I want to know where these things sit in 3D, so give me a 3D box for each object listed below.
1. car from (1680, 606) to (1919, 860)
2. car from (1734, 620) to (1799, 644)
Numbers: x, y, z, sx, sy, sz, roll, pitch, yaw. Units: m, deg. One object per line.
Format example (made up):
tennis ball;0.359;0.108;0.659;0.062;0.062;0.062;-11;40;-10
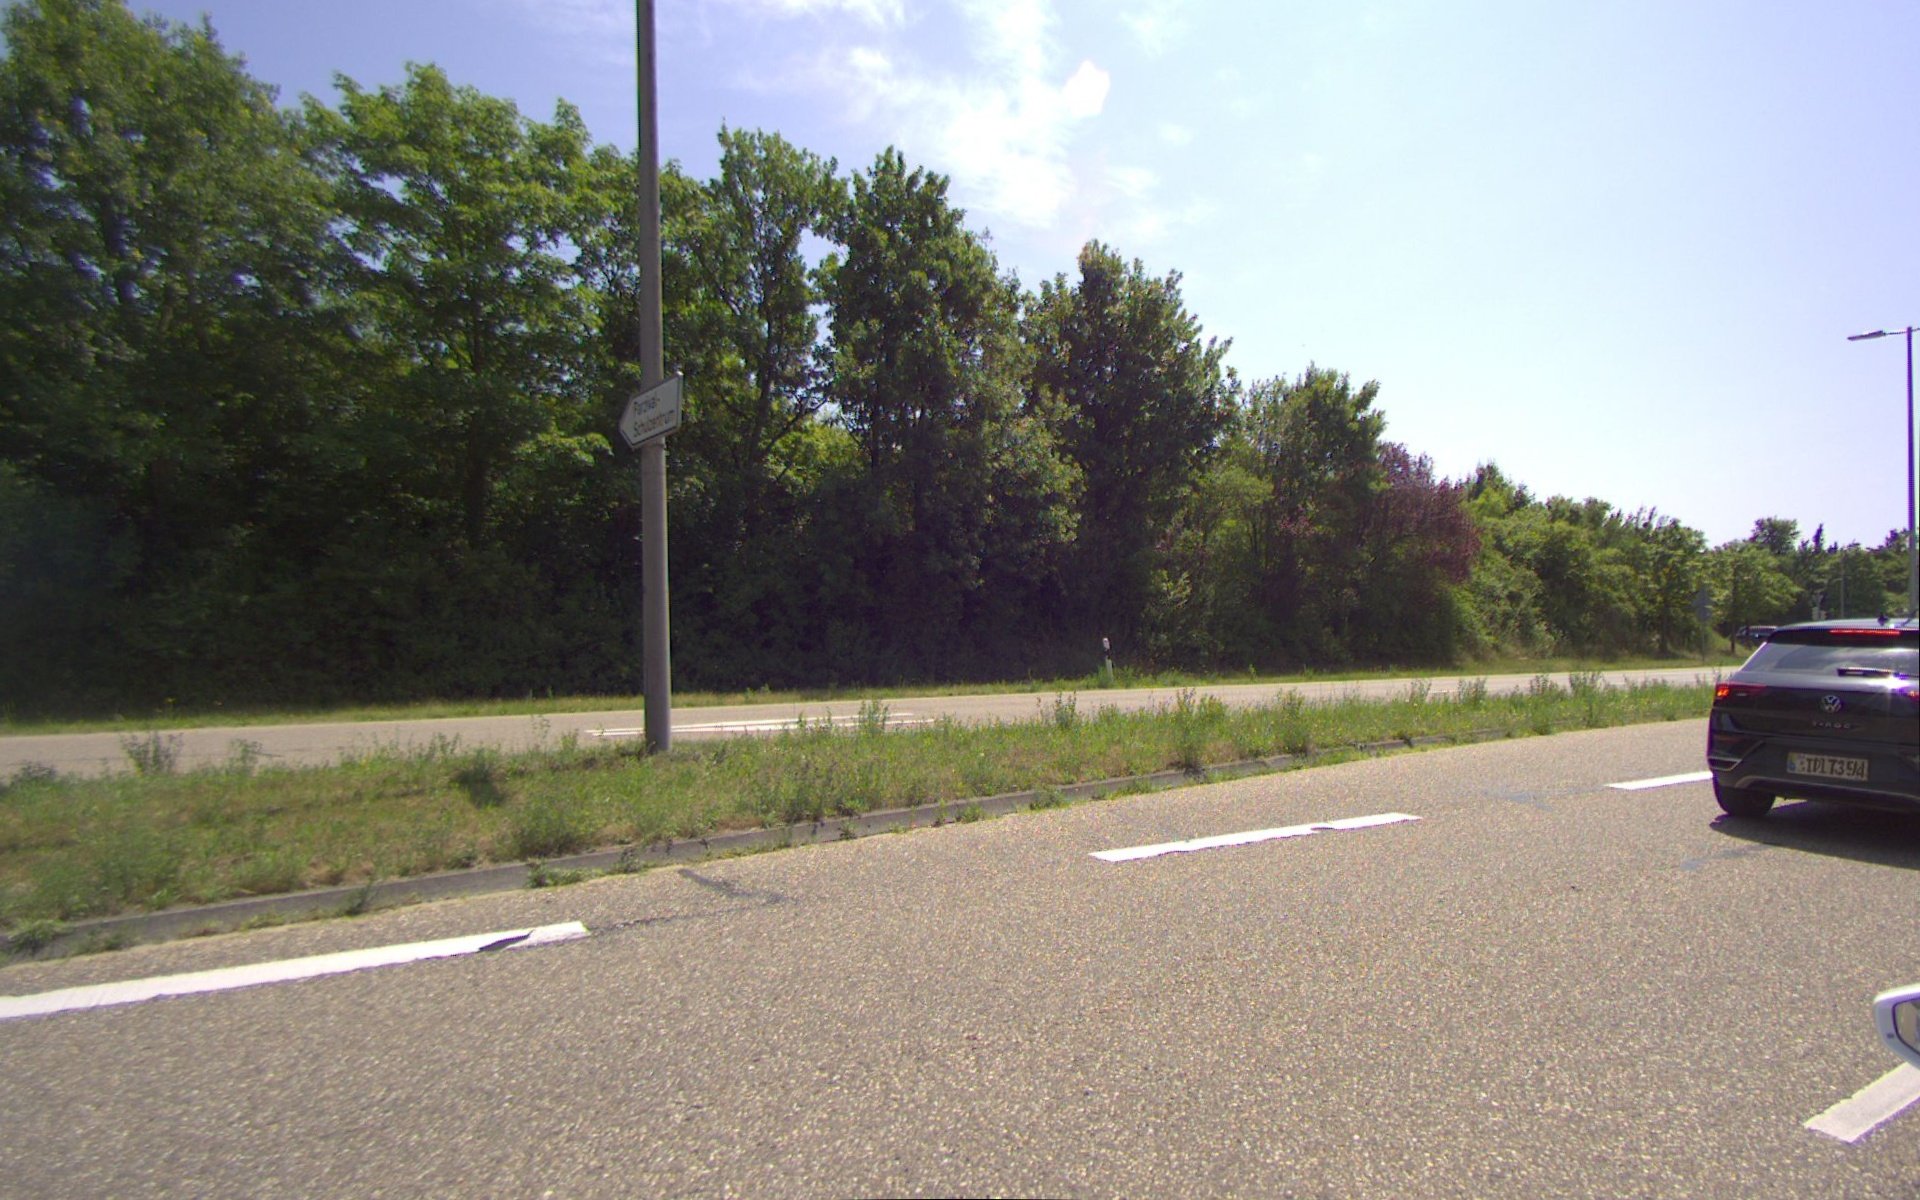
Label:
car;7.479;0.886;7.709;3.954;1.576;1.747;2;-1;-31
car;67.113;2.651;83.580;1.986;1.855;3.950;1;0;-42
